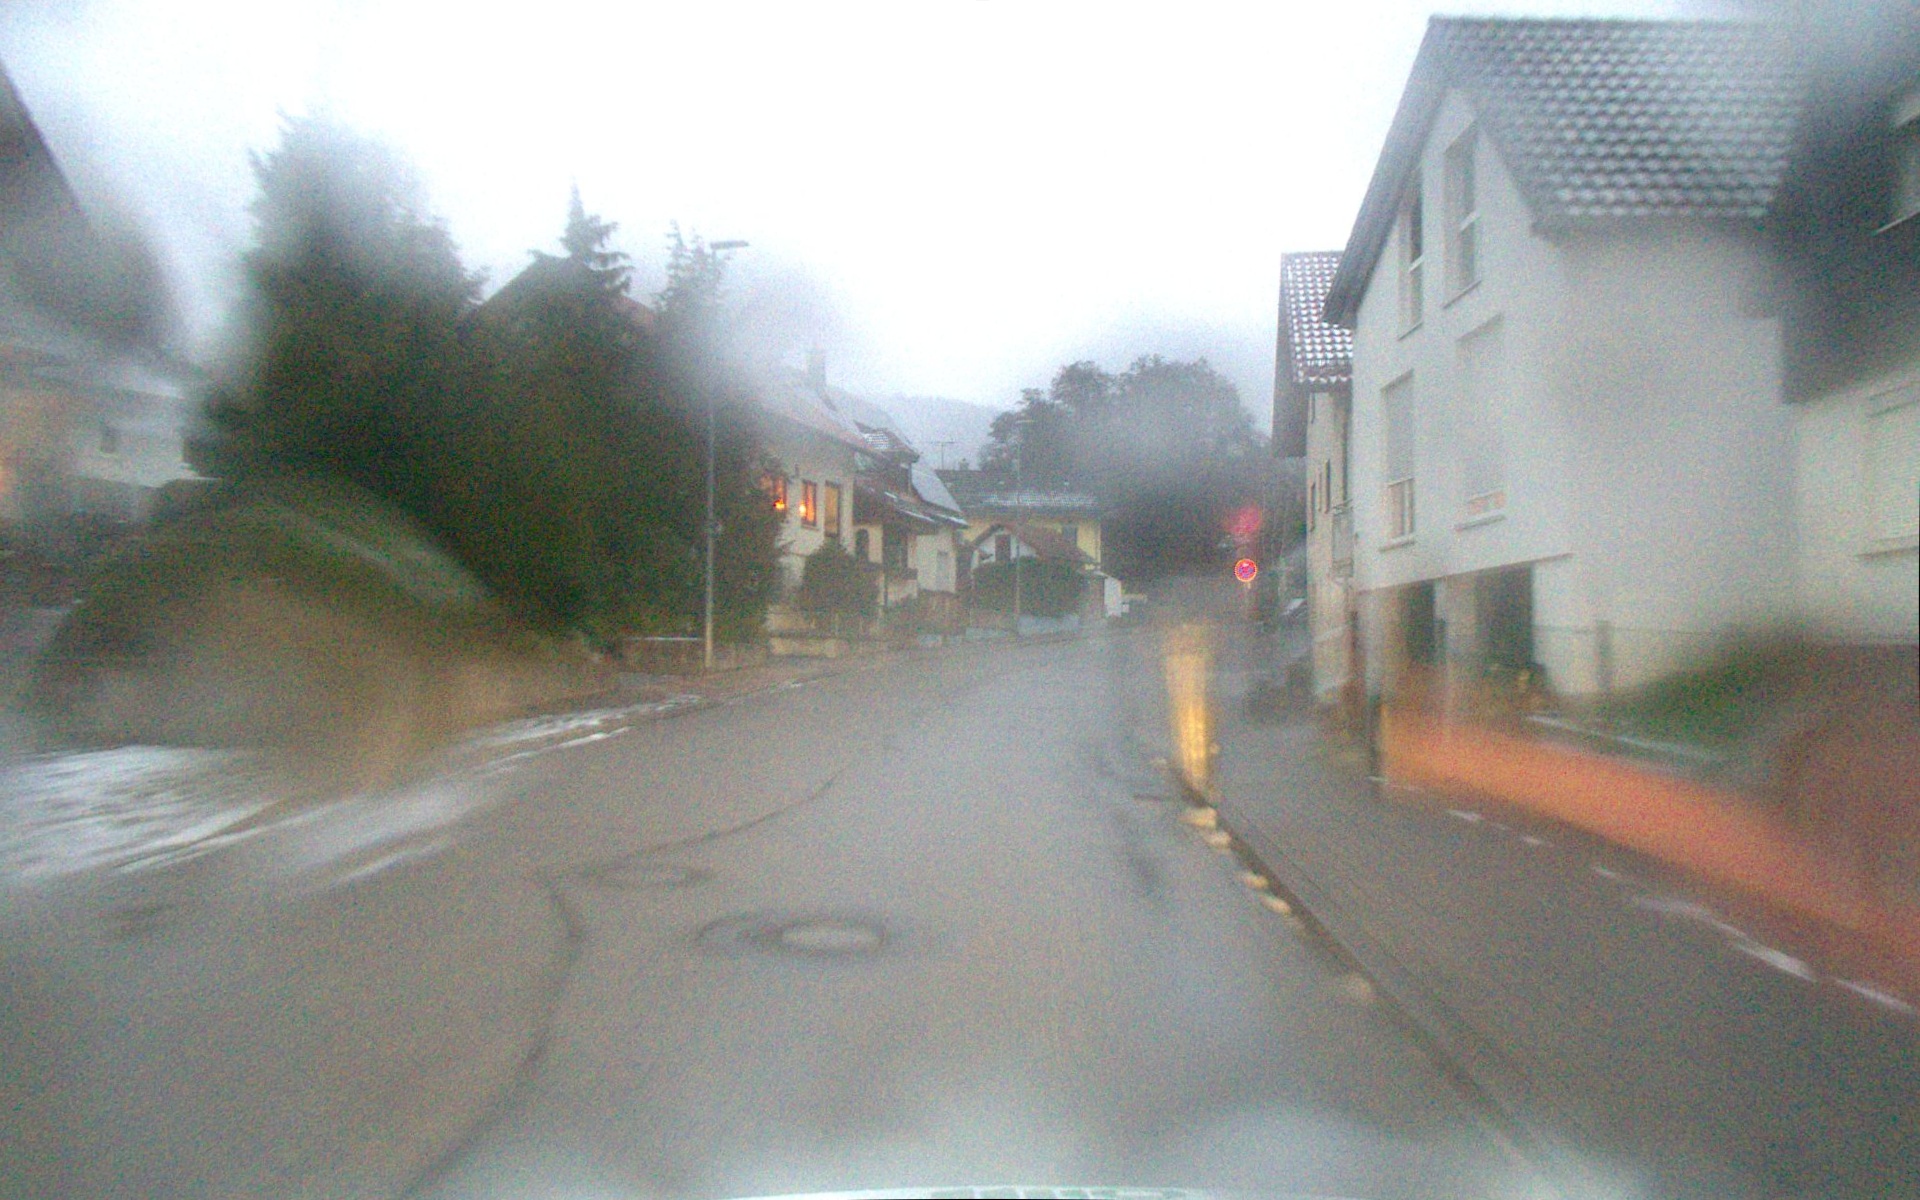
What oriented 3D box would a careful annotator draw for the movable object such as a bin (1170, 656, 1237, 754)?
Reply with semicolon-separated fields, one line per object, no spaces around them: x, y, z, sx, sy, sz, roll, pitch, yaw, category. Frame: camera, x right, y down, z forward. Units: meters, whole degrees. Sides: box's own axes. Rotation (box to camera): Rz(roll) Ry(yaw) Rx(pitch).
2.530;1.084;17.214;0.601;0.963;0.595;-3;-2;5;movable object such as a bin

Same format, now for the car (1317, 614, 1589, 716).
7.979;1.028;27.017;3.906;1.482;1.690;-2;0;-1;car

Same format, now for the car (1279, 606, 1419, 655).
12.945;1.011;55.064;4.408;1.469;2.002;-2;0;14;car

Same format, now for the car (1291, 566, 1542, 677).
8.583;0.411;31.375;4.193;1.481;1.780;-8;-1;5;car
